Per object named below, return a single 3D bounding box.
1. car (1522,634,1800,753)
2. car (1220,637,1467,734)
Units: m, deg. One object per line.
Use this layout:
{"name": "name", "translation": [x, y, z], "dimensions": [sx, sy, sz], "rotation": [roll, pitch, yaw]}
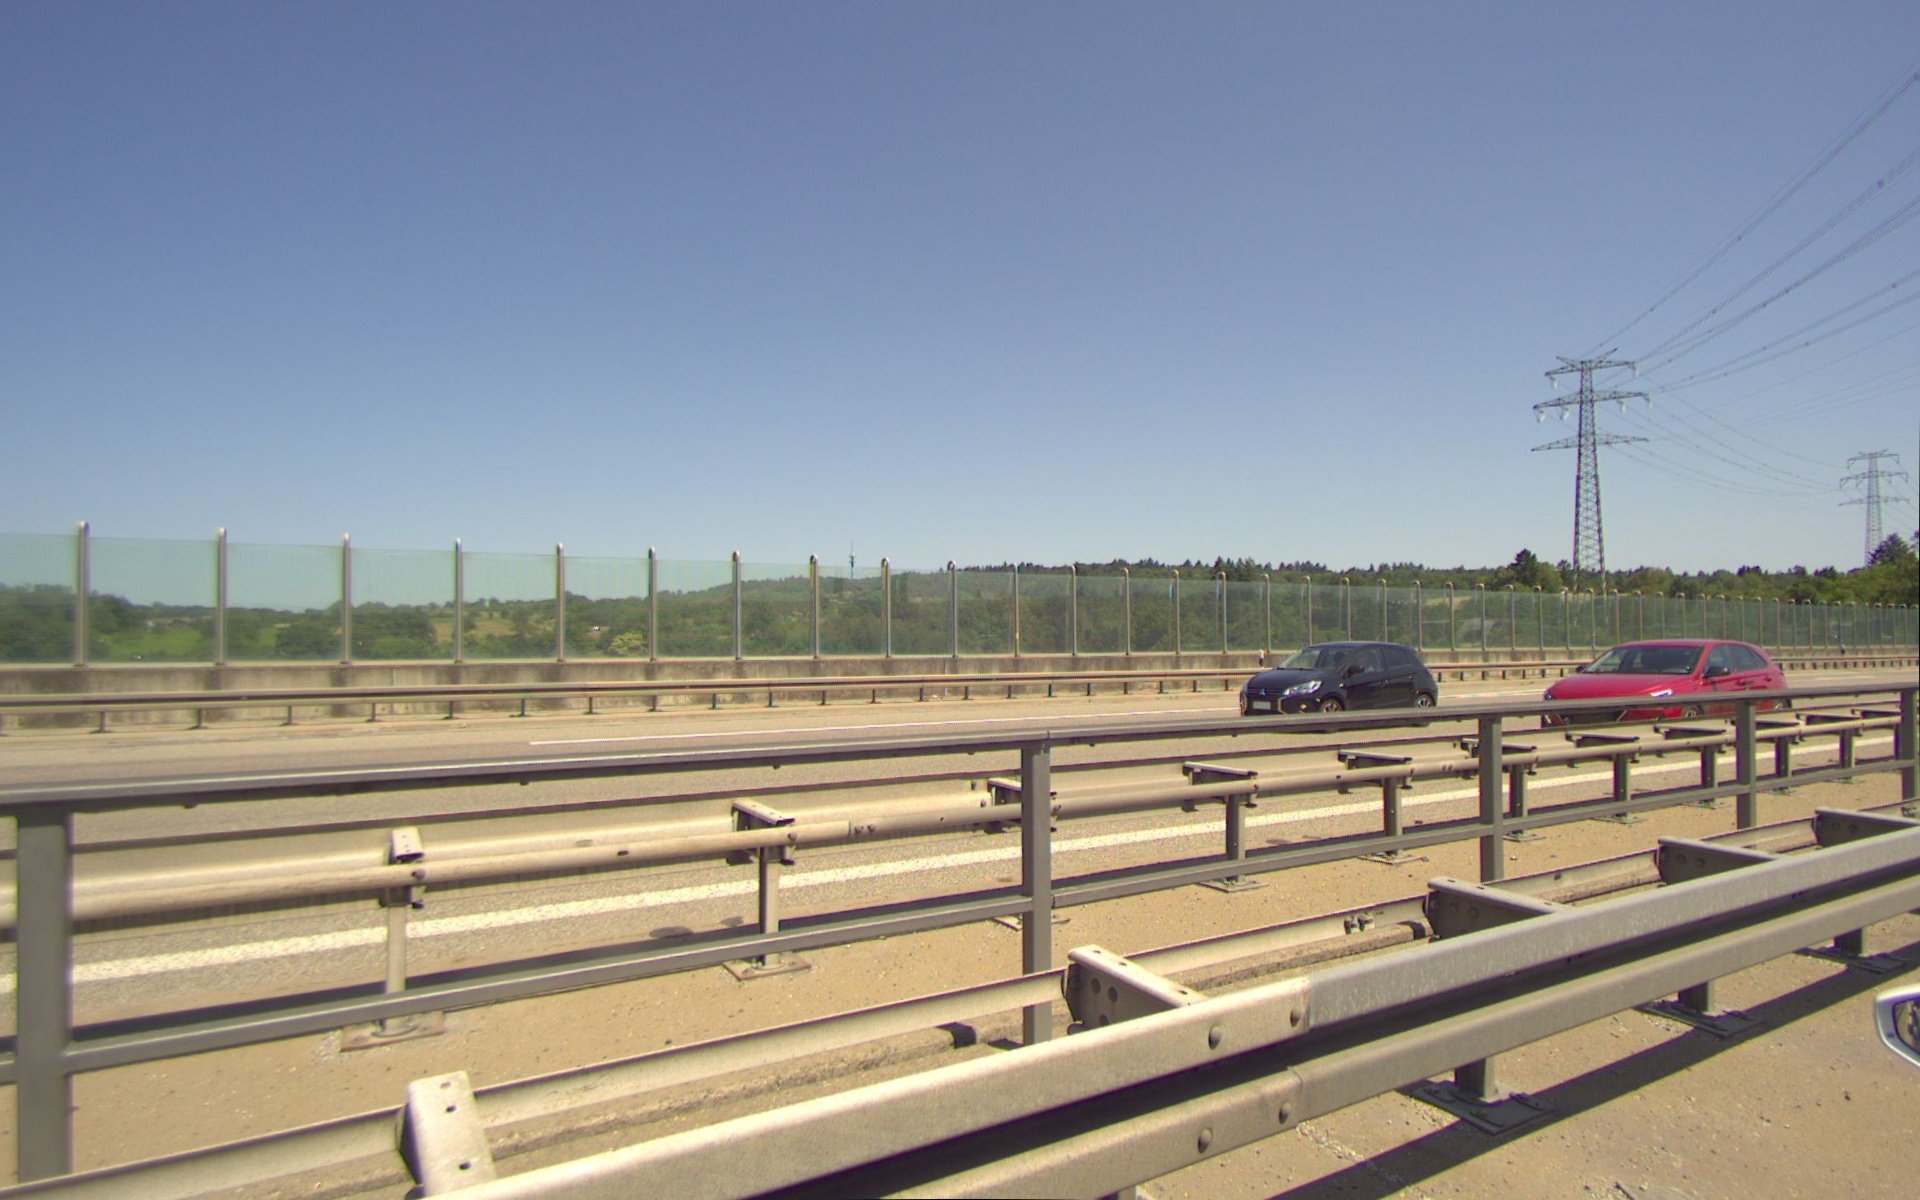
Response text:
{"name": "car", "translation": [10.147, 1.260, 14.501], "dimensions": [3.941, 1.497, 1.783], "rotation": [1, -3, -30]}
{"name": "car", "translation": [6.789, 1.434, 17.675], "dimensions": [4.368, 1.511, 1.721], "rotation": [1, -3, -31]}
